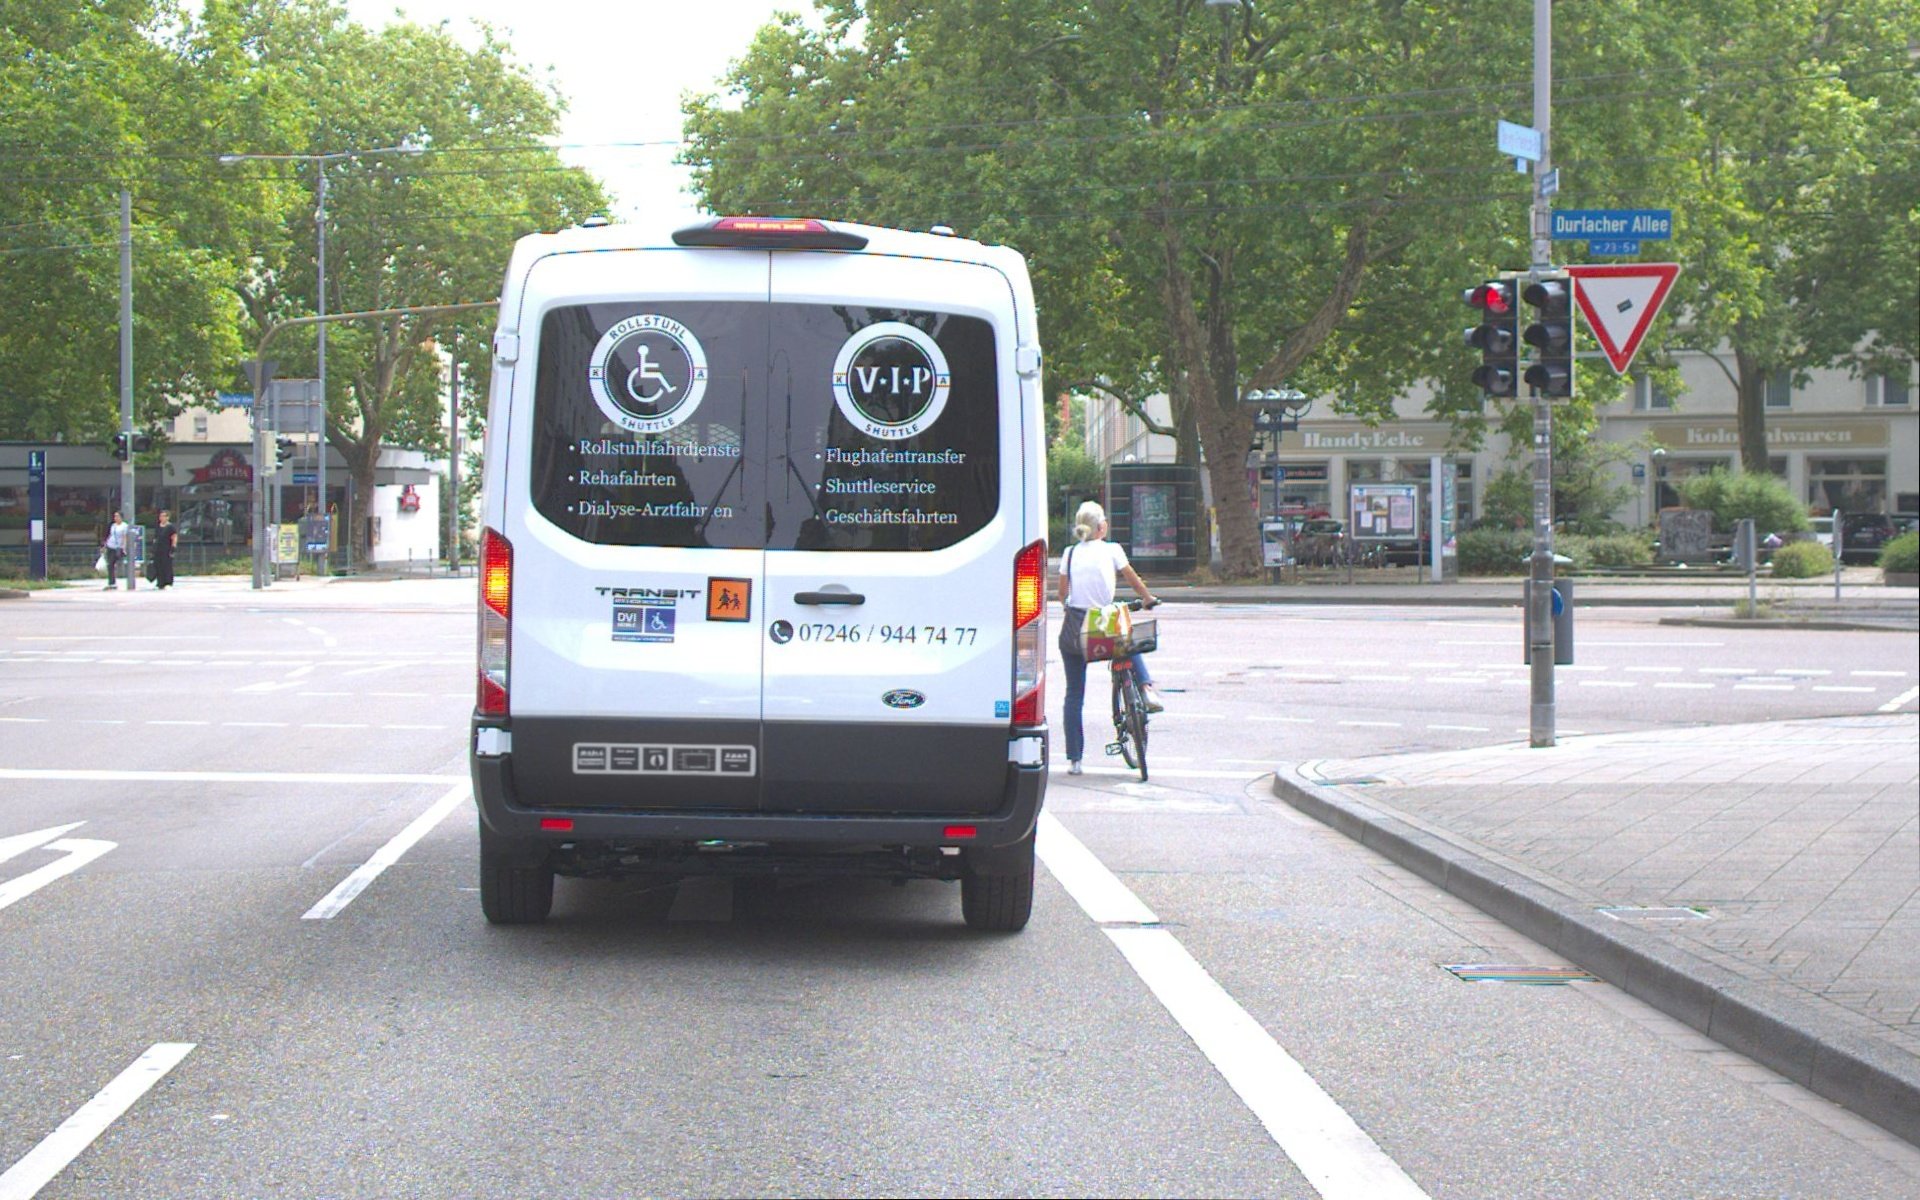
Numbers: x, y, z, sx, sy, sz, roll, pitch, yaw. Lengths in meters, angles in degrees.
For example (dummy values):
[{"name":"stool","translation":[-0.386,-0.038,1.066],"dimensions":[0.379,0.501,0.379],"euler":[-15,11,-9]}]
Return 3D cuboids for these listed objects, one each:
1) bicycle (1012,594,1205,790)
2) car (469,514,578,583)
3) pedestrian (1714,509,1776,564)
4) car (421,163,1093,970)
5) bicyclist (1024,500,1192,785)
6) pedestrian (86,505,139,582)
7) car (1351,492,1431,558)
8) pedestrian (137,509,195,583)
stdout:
[{"name":"bicycle","translation":[0.873,0.528,20.868],"dimensions":[0.902,1.071,1.970],"euler":[0,2,-6]},{"name":"car","translation":[-9.833,-1.173,77.691],"dimensions":[1.621,1.471,4.000],"euler":[0,2,5]},{"name":"pedestrian","translation":[18.066,-1.458,79.123],"dimensions":[1.091,1.232,1.441],"euler":[-2,1,2]},{"name":"car","translation":[-0.830,-0.207,13.619],"dimensions":[2.181,2.638,4.629],"euler":[-1,2,-4]},{"name":"bicyclist","translation":[0.882,0.237,20.674],"dimensions":[0.903,1.677,0.757],"euler":[0,1,-6]},{"name":"pedestrian","translation":[-17.327,-1.152,70.312],"dimensions":[0.807,1.567,0.723],"euler":[0,1,11]},{"name":"car","translation":[12.902,-2.264,103.076],"dimensions":[1.993,1.924,4.000],"euler":[0,2,2]},{"name":"pedestrian","translation":[-16.224,-1.109,70.290],"dimensions":[0.930,1.509,0.723],"euler":[0,1,12]}]
